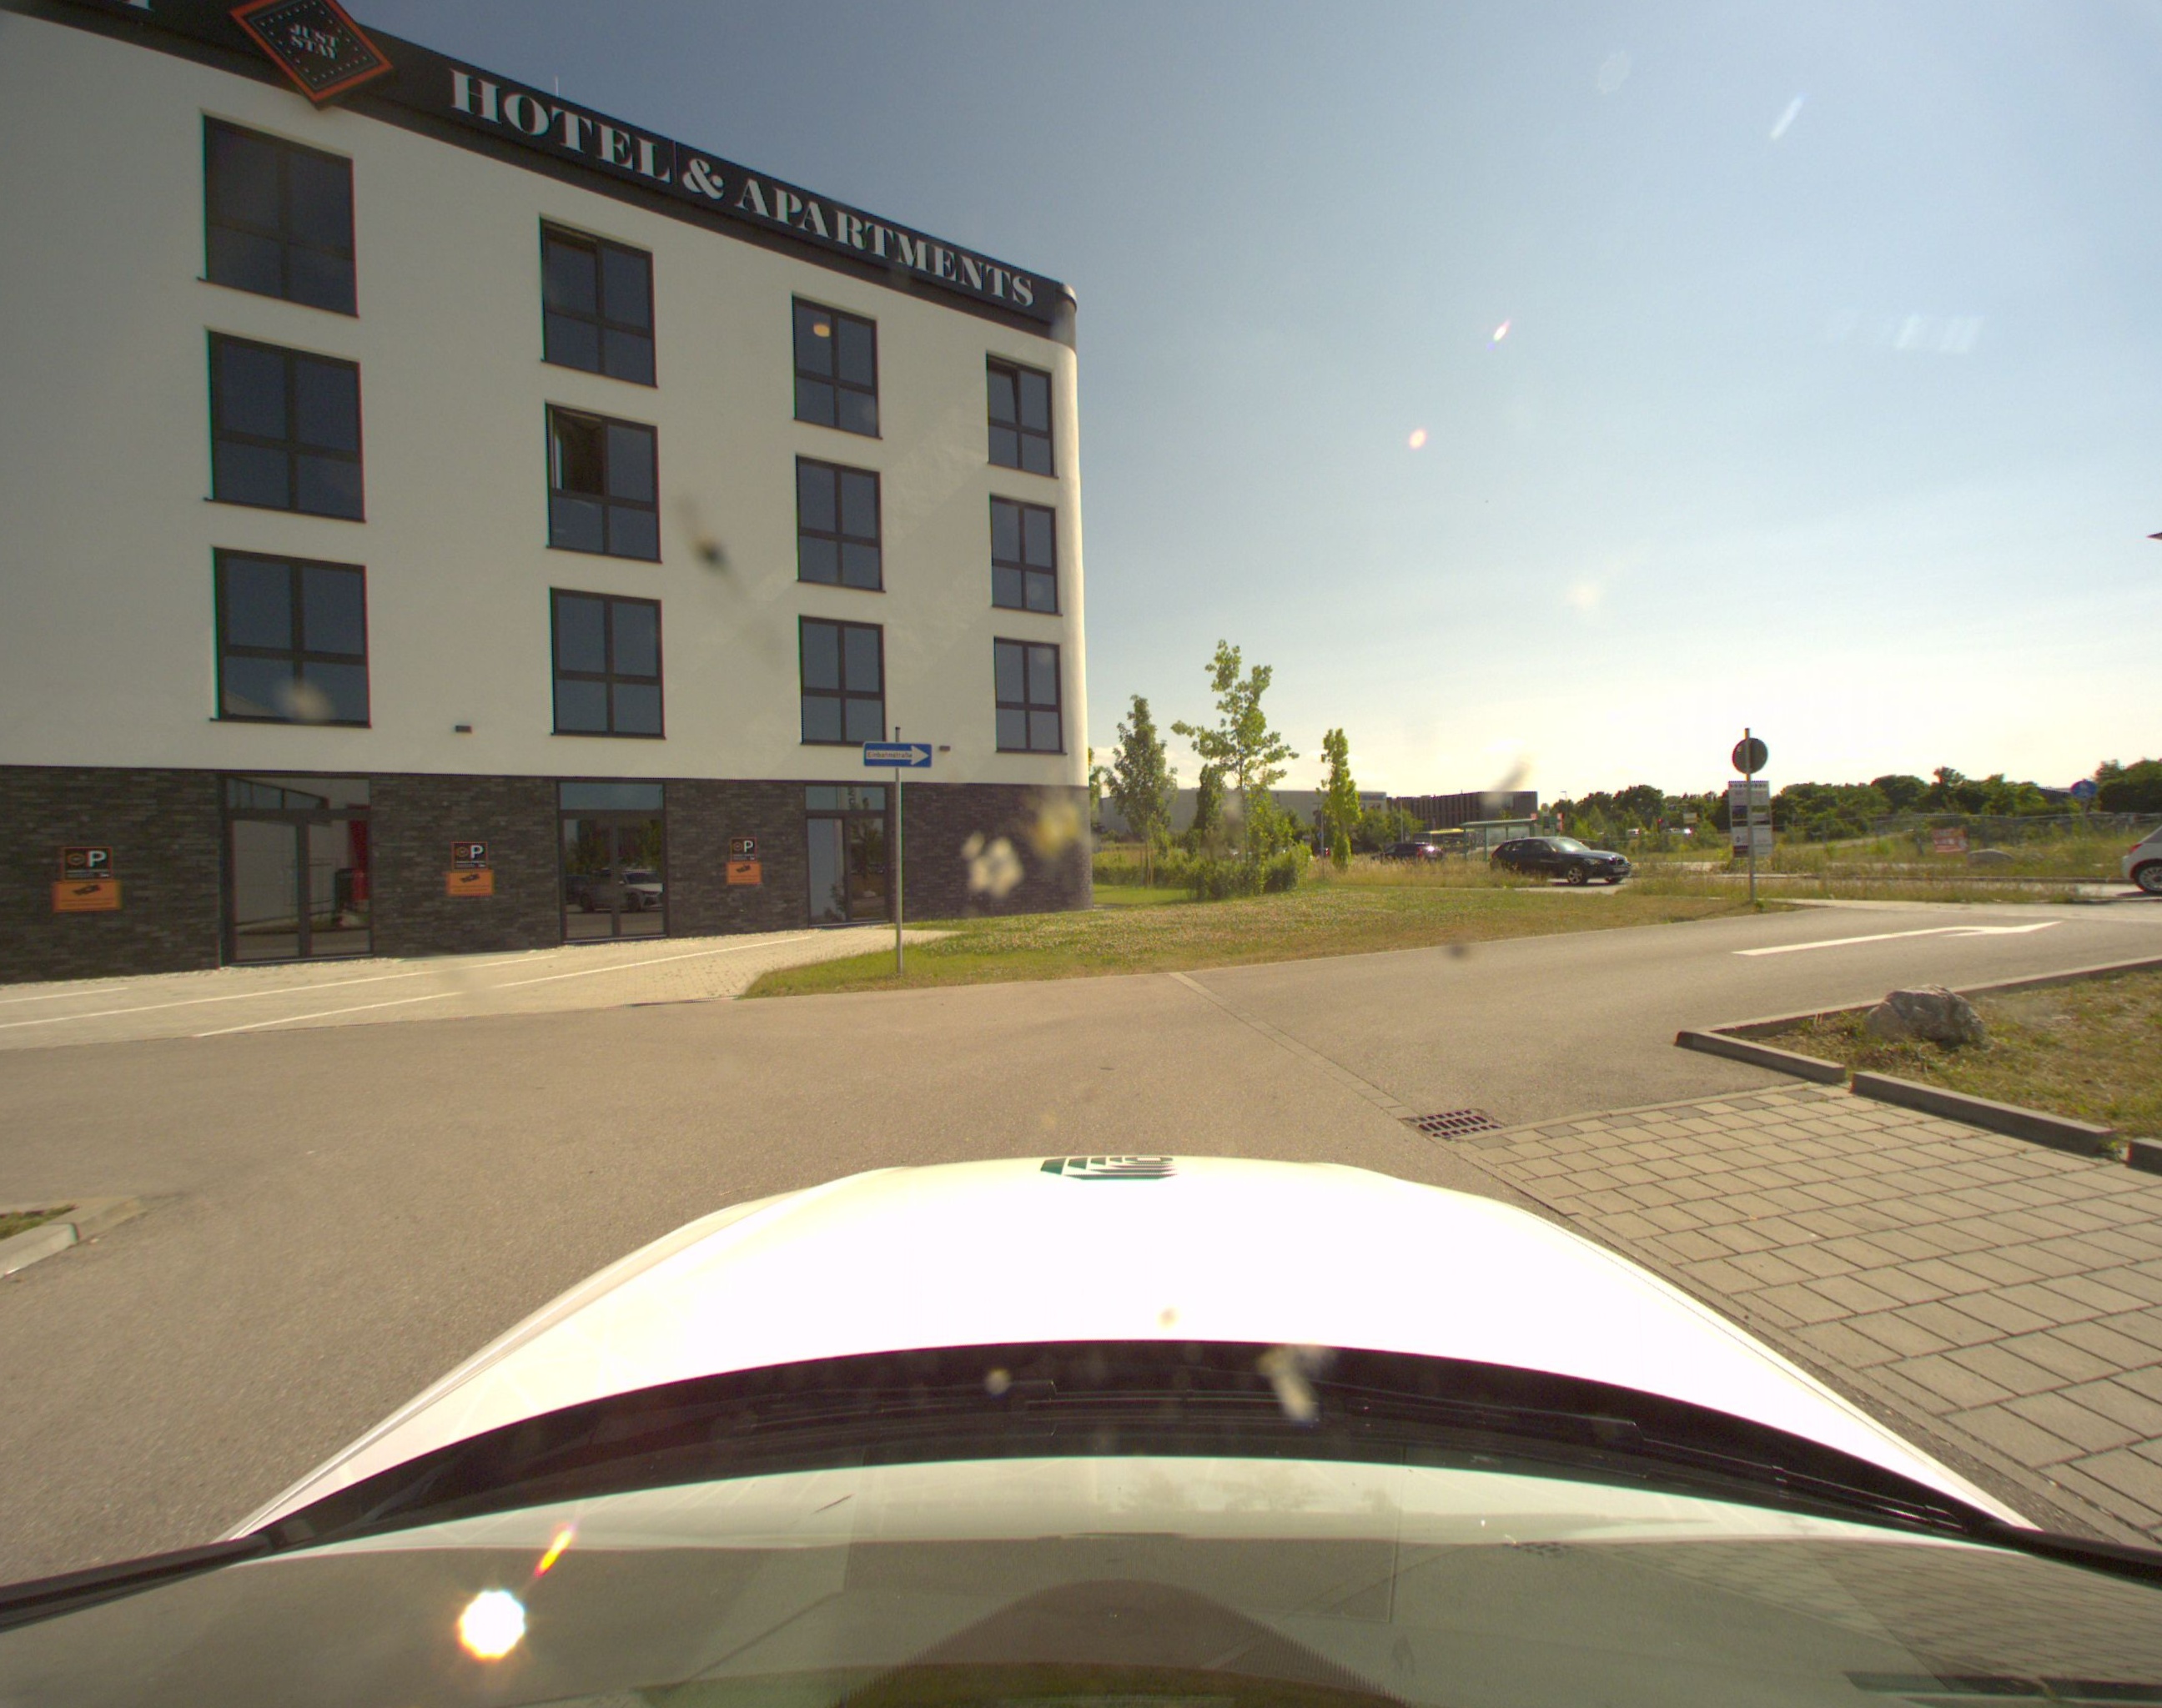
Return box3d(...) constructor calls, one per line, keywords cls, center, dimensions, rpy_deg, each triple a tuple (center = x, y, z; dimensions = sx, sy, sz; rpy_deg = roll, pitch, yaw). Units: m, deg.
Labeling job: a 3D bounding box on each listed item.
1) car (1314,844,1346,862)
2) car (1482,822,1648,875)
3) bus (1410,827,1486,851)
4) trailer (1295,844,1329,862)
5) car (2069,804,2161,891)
box3d(cls="car", center=(27.455, -0.140, 89.720), dimensions=(1.805, 1.859, 4.024), rpy_deg=(-1, 0, 43))
box3d(cls="car", center=(15.536, -0.171, 26.420), dimensions=(1.916, 1.551, 4.355), rpy_deg=(-1, 0, -23))
box3d(cls="bus", center=(46.889, -1.942, 103.849), dimensions=(11.605, 2.735, 2.555), rpy_deg=(-2, 1, -31))
box3d(cls="trailer", center=(24.640, -0.075, 86.827), dimensions=(1.805, 1.859, 4.024), rpy_deg=(-1, 0, 43))
box3d(cls="car", center=(20.389, -0.126, 14.146), dimensions=(1.741, 1.551, 3.758), rpy_deg=(-1, 0, -20))
